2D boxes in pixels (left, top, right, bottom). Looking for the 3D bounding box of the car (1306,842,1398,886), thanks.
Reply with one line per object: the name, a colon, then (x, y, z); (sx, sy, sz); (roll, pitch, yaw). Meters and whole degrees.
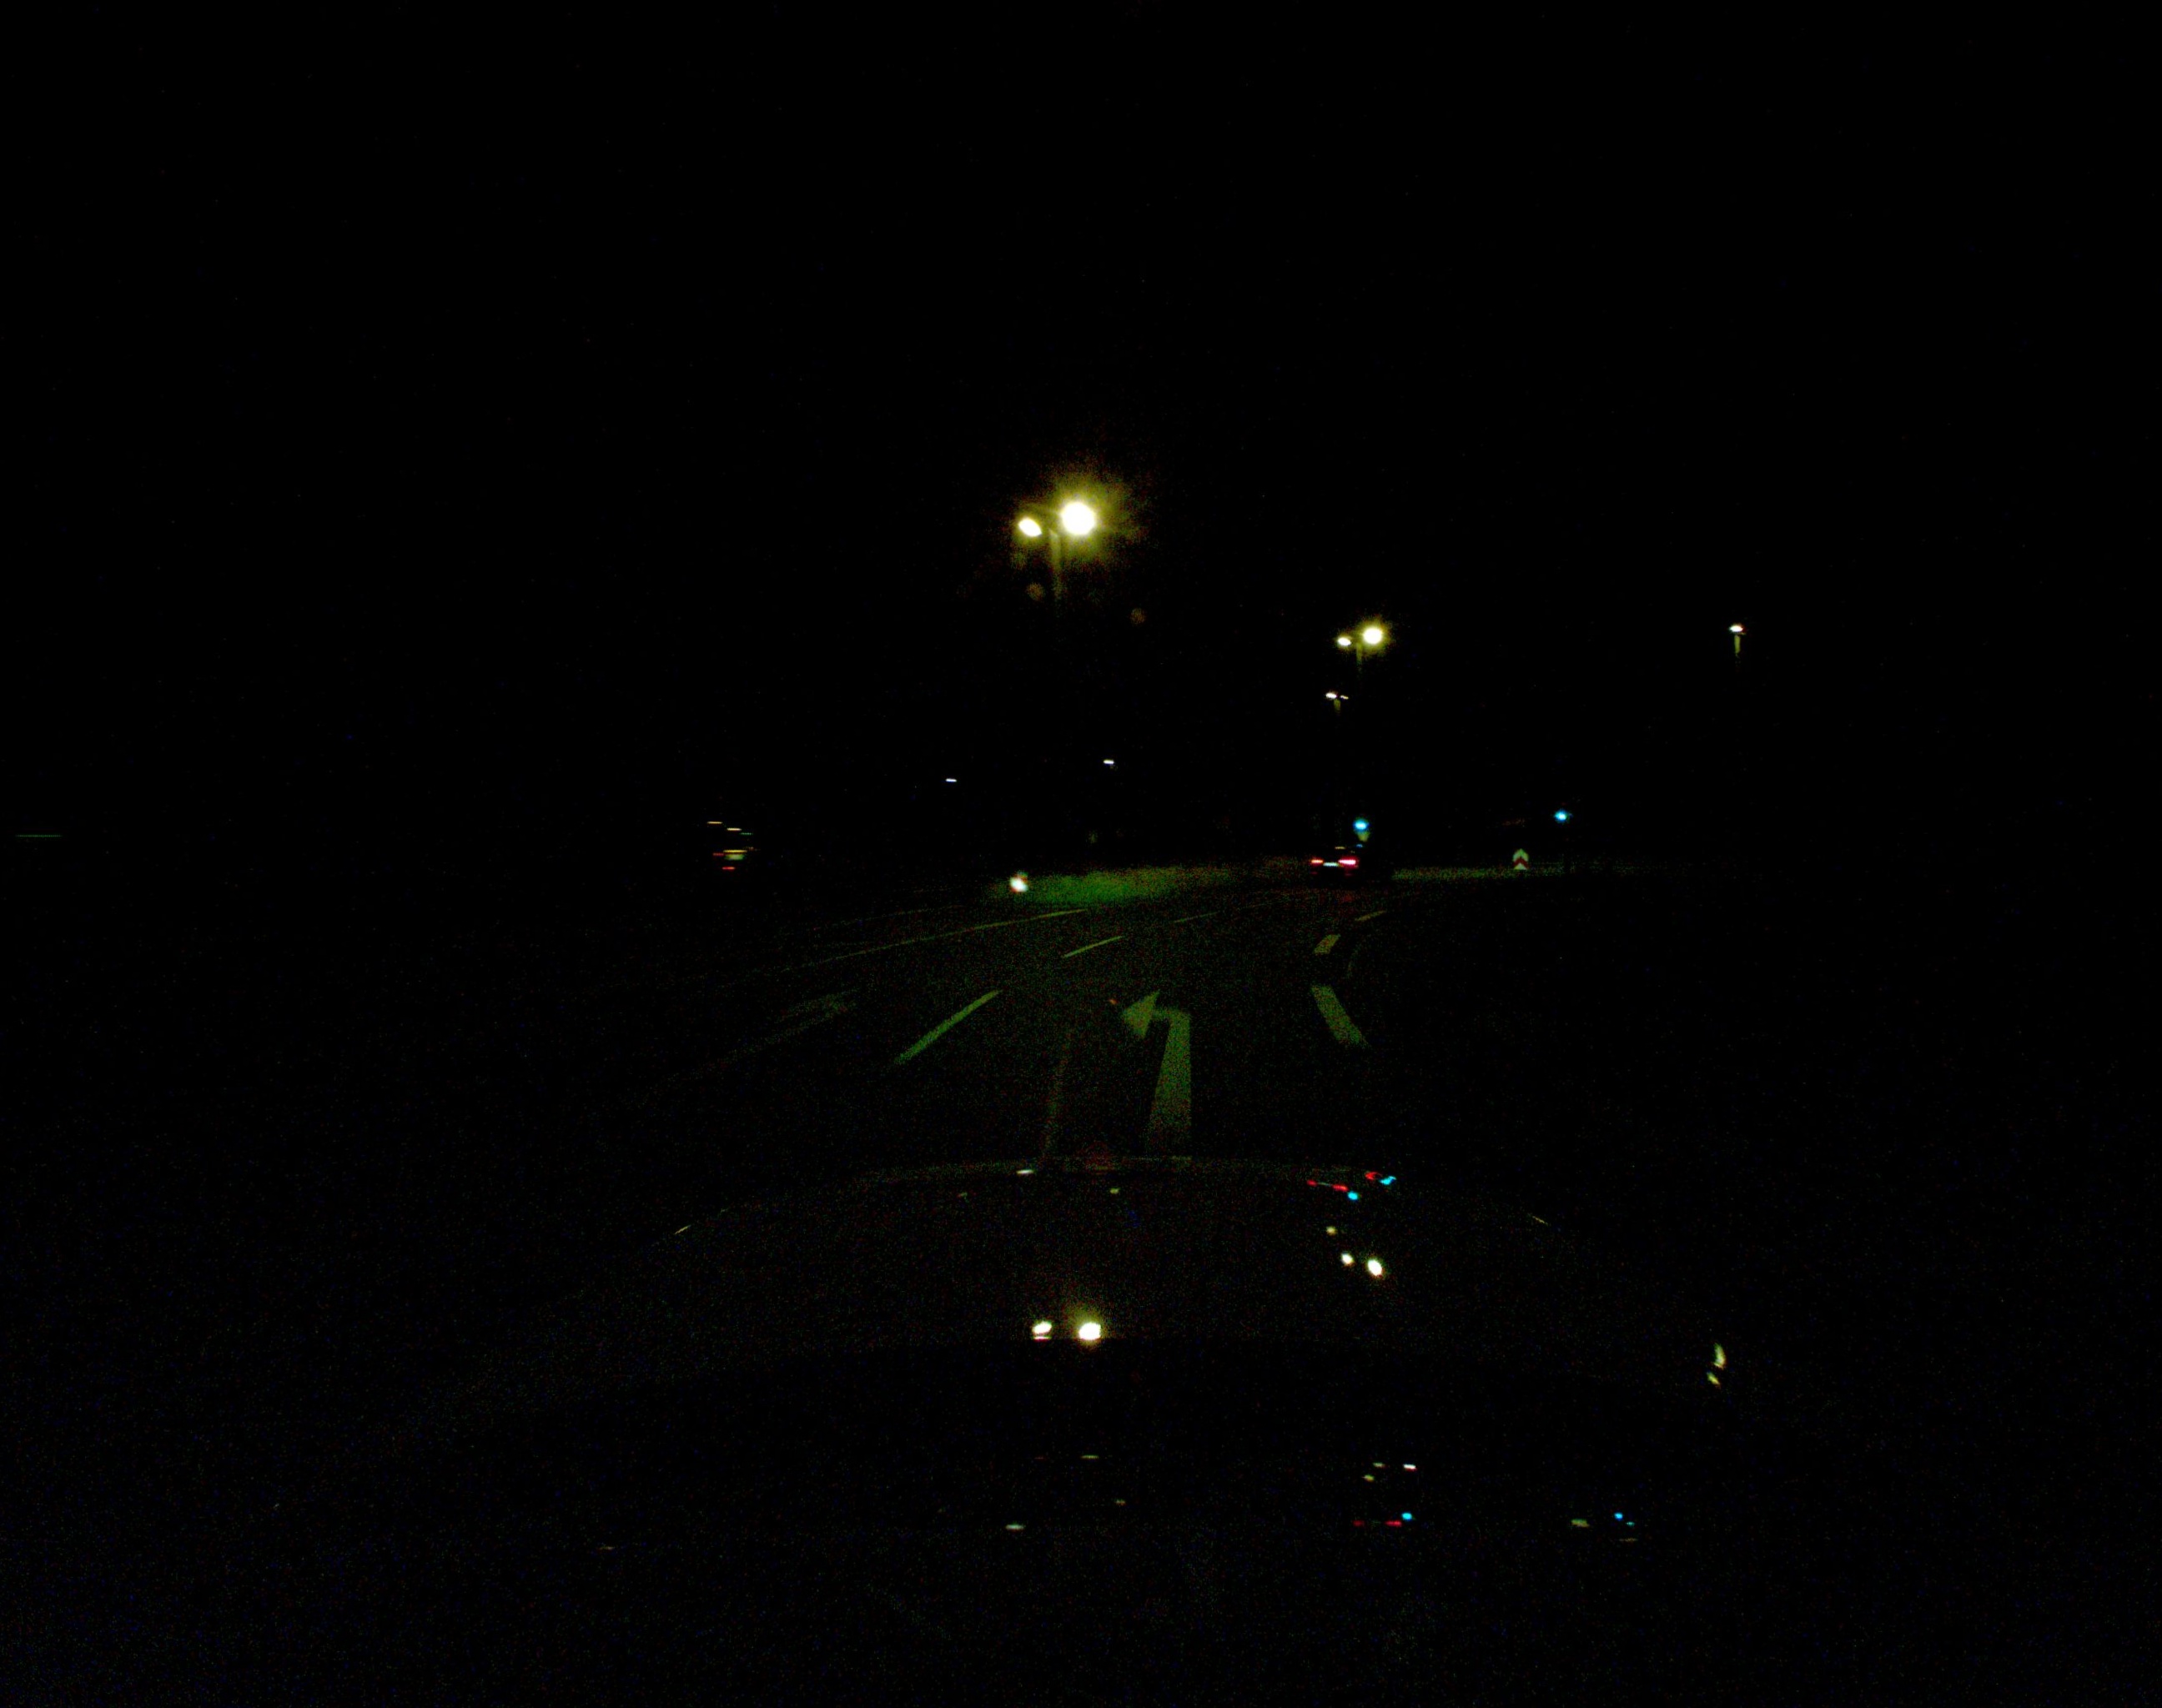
car: (10.559, 0.316, 31.627); (1.835, 1.582, 4.031); (1, 1, 44)
